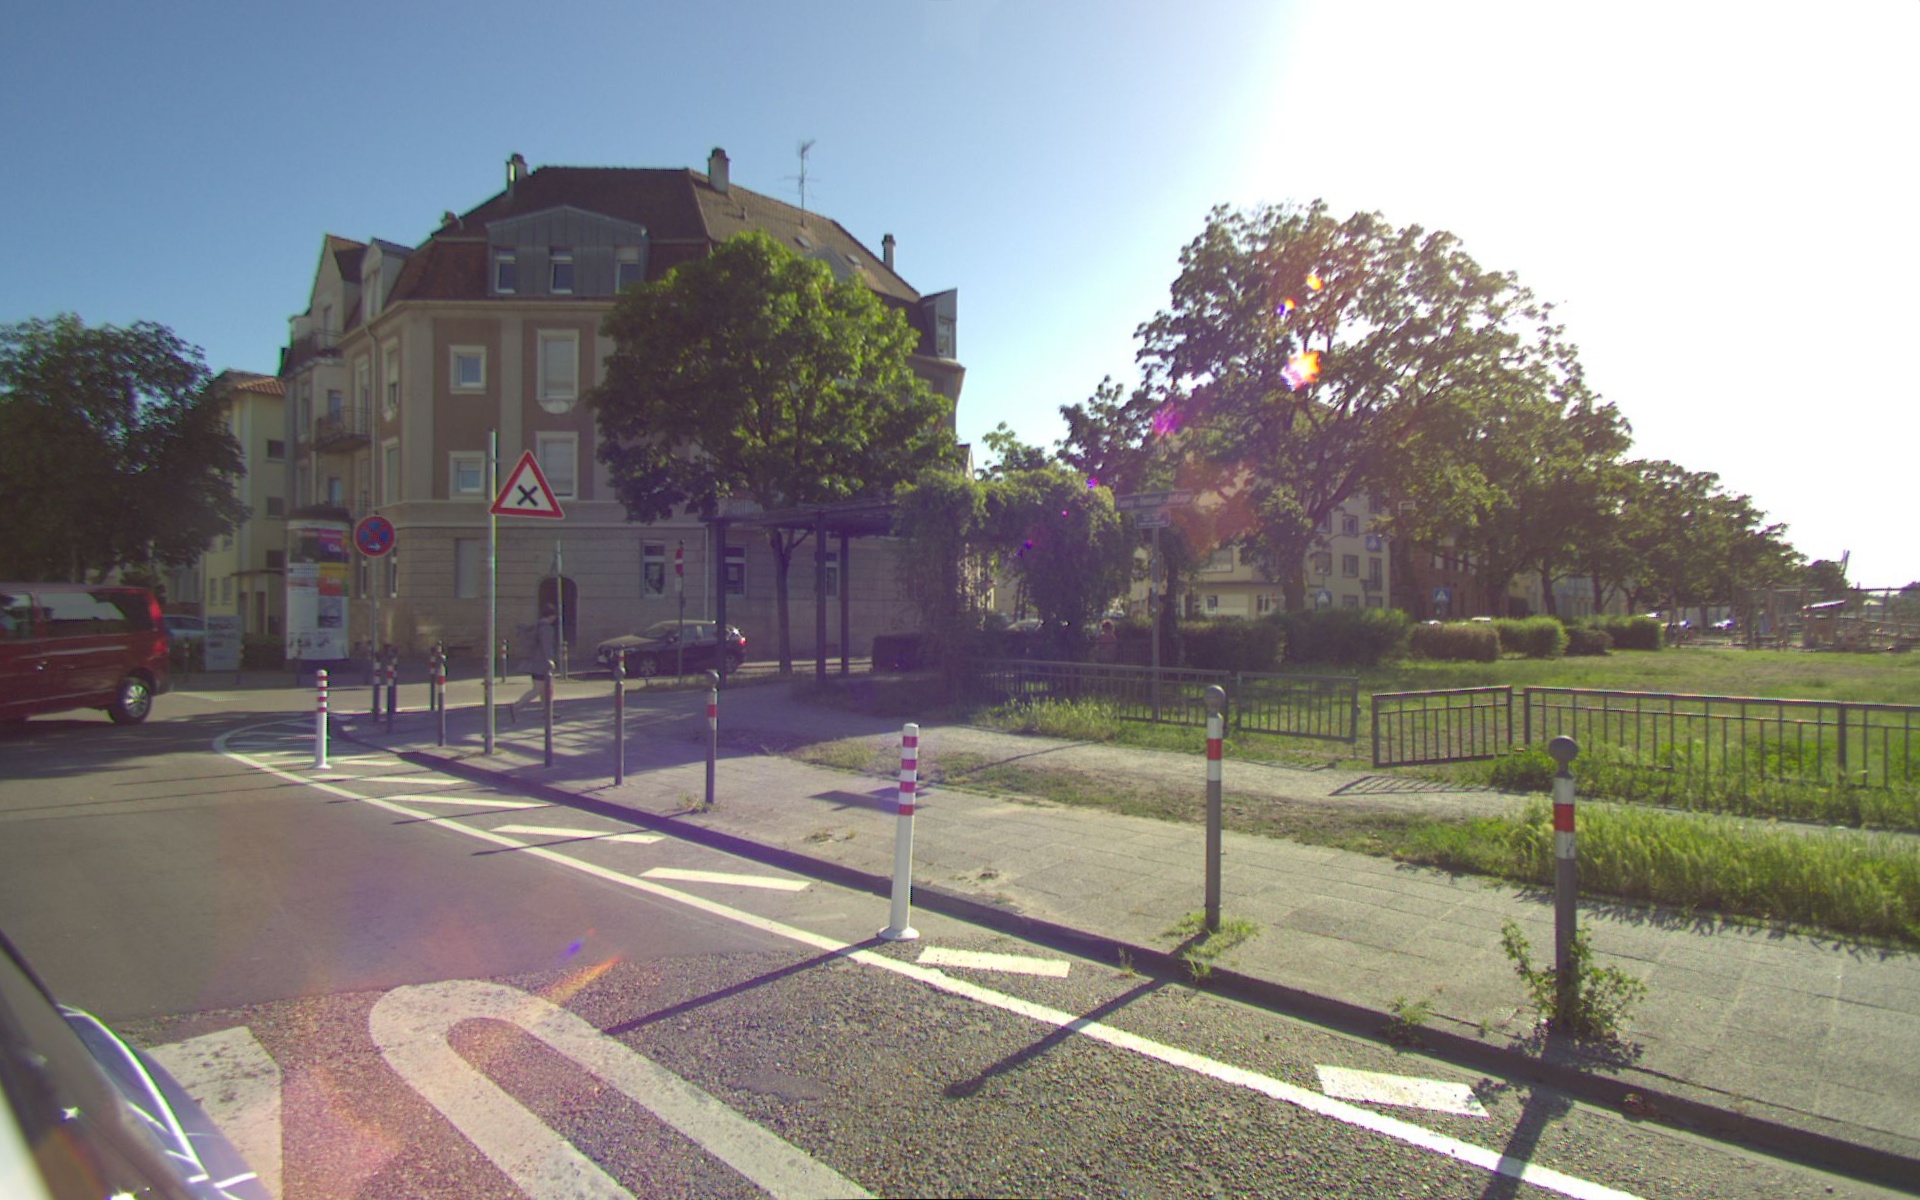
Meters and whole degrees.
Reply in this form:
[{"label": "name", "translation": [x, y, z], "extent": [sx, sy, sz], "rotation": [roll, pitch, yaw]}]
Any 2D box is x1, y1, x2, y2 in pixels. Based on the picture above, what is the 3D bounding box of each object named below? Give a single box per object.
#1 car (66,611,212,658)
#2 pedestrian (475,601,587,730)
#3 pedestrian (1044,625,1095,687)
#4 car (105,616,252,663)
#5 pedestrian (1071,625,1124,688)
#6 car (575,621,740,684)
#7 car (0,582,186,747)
[{"label": "car", "translation": [-28.643, 1.170, 35.389], "extent": [1.691, 1.506, 3.739], "rotation": [-1, 0, 41]}, {"label": "pedestrian", "translation": [-6.016, 0.874, 14.219], "extent": [0.909, 1.686, 1.081], "rotation": [0, 2, 27]}, {"label": "pedestrian", "translation": [2.123, 1.066, 19.598], "extent": [0.599, 1.158, 0.833], "rotation": [-1, -2, 45]}, {"label": "car", "translation": [-26.528, 1.298, 34.441], "extent": [1.691, 1.455, 3.739], "rotation": [-1, 0, 41]}, {"label": "pedestrian", "translation": [2.593, 1.056, 19.104], "extent": [0.599, 1.147, 0.862], "rotation": [-1, -2, 45]}, {"label": "car", "translation": [-8.310, 1.390, 28.022], "extent": [1.867, 1.494, 3.960], "rotation": [3, 1, 41]}, {"label": "car", "translation": [-12.533, 0.764, 12.871], "extent": [1.868, 1.975, 4.891], "rotation": [1, 0, -4]}]
